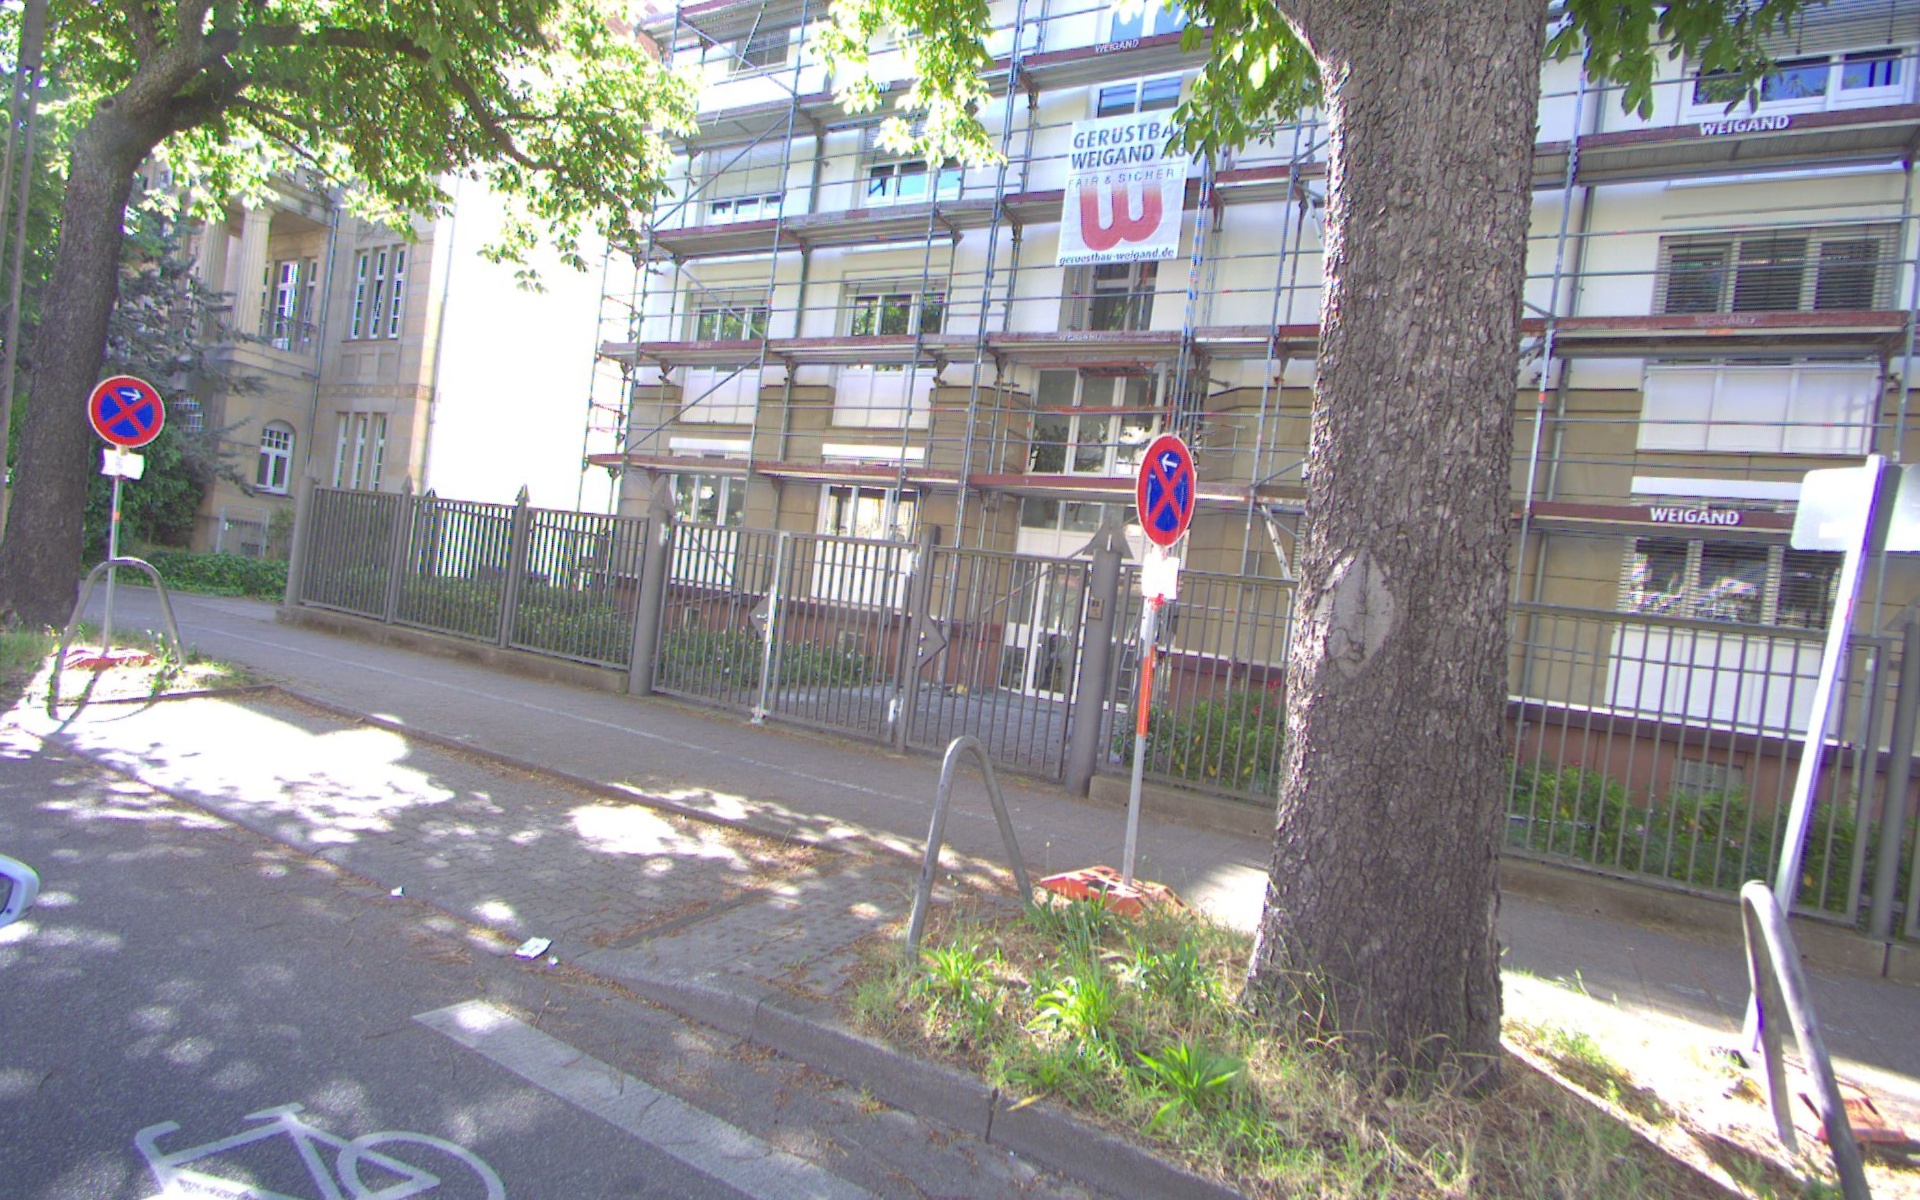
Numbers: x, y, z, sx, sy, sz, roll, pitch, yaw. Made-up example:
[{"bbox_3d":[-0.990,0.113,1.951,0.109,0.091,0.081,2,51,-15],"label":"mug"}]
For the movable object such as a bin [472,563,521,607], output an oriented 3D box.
[{"bbox_3d":[-11.718,-0.371,25.446,0.637,0.966,0.835,6,-2,30],"label":"movable object such as a bin"}]
